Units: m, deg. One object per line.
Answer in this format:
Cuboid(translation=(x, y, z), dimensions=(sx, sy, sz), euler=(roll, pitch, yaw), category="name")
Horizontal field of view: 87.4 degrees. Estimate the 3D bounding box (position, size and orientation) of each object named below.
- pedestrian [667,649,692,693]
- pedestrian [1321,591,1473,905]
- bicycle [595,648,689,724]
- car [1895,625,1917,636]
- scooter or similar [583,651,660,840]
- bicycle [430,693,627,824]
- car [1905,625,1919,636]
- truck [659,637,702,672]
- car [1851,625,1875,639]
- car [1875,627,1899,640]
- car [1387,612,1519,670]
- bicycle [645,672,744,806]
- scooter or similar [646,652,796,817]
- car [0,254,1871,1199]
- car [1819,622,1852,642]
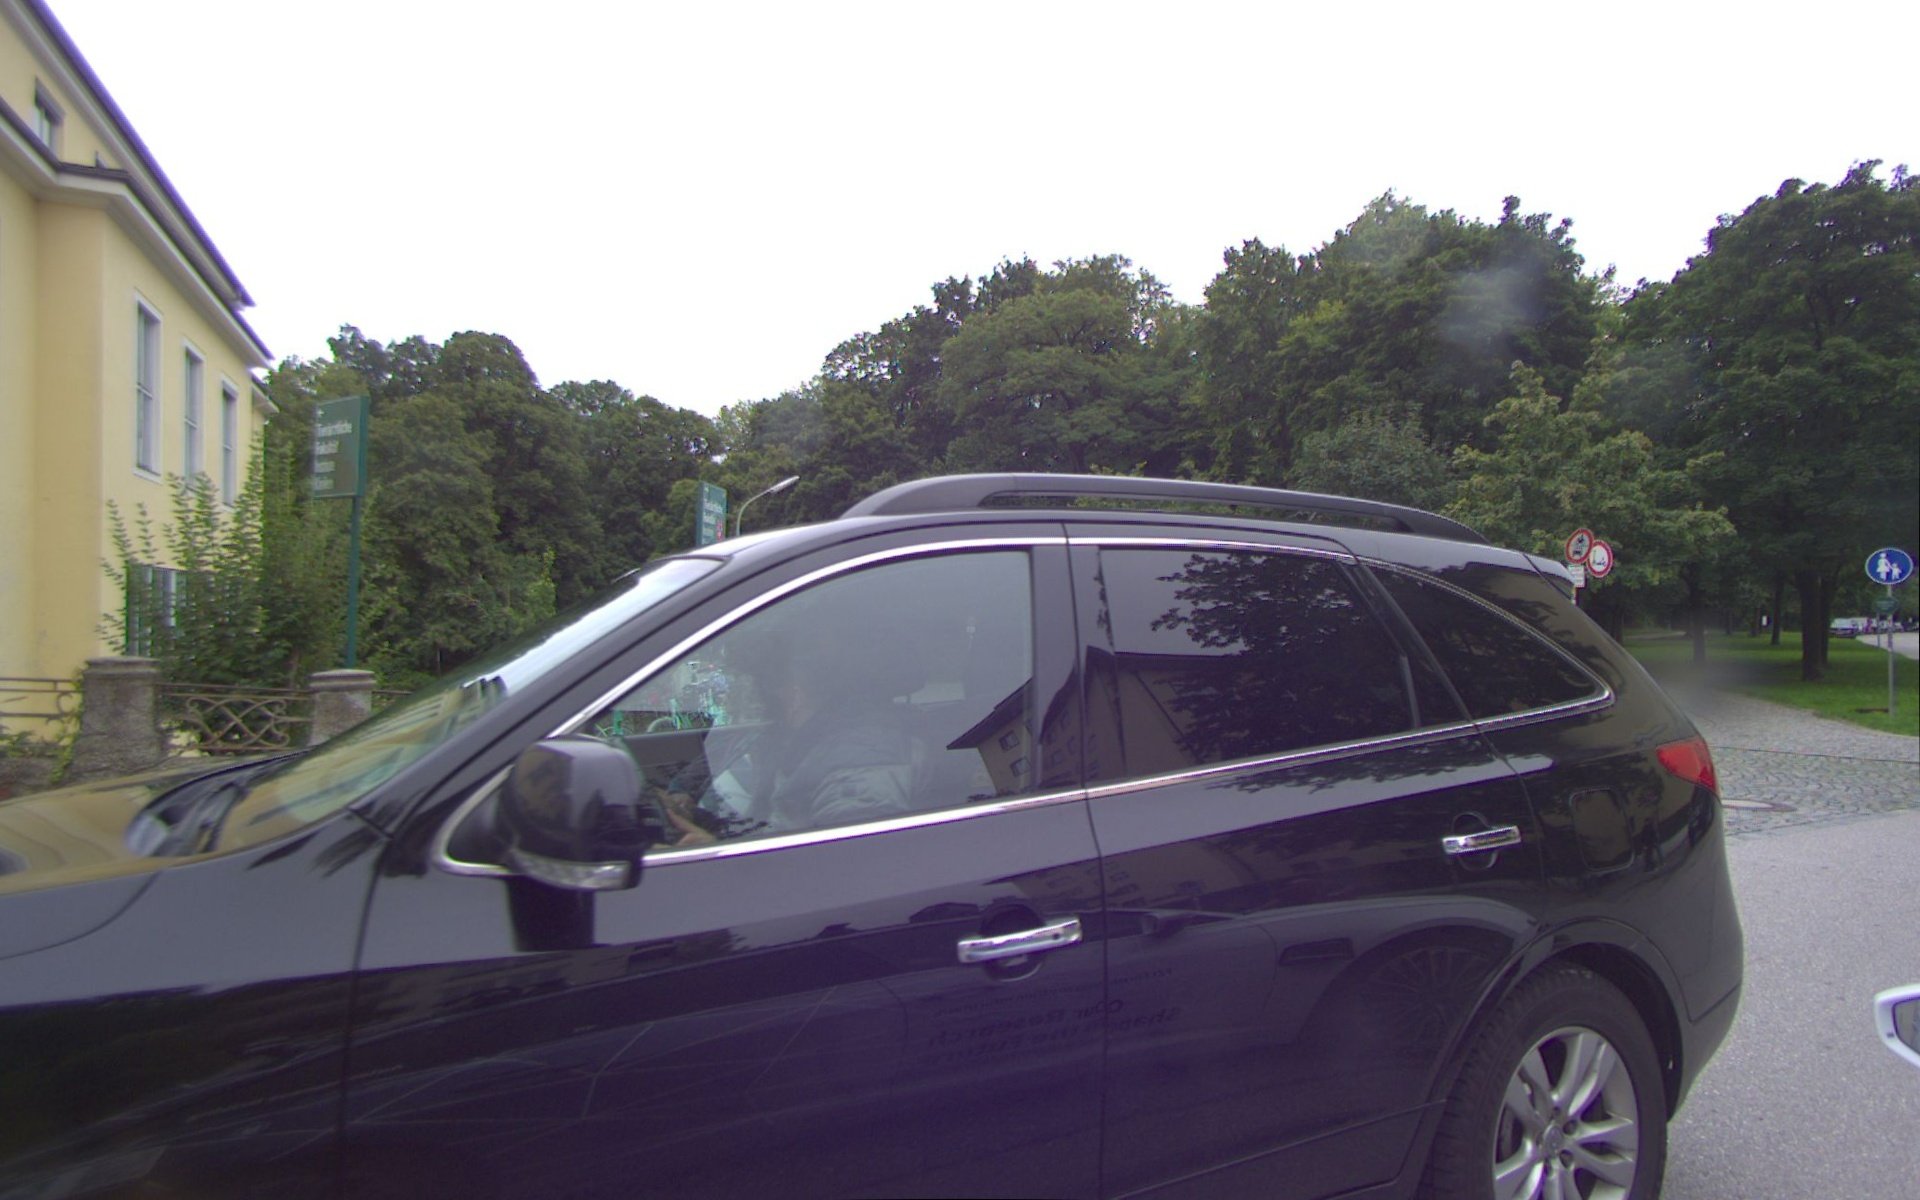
Cuboid(translation=(-11.507, 2.884, 41.202), dimensions=(0.740, 1.728, 1.103), euler=(1, -1, -29), category="pedestrian")
Cuboid(translation=(2.588, 0.830, 5.954), dimensions=(0.660, 1.719, 0.538), euler=(1, -3, -37), category="pedestrian")
Cuboid(translation=(-7.814, 2.041, 24.587), dimensions=(1.044, 1.683, 3.114), euler=(1, -2, -41), category="bicycle")
Cuboid(translation=(137.870, 4.446, 146.348), dimensions=(4.433, 1.621, 1.976), euler=(1, -2, -42), category="car")
Cuboid(translation=(-2.521, 1.039, 7.557), dimensions=(0.388, 1.260, 1.261), euler=(2, -2, -13), category="scooter or similar")
Cuboid(translation=(-3.354, 1.200, 7.880), dimensions=(1.322, 0.905, 0.429), euler=(4, -3, -45), category="bicycle")
Cuboid(translation=(142.457, 4.569, 149.929), dimensions=(4.221, 1.680, 1.785), euler=(2, -2, -43), category="car")
Cuboid(translation=(-20.989, 4.030, 75.351), dimensions=(2.366, 2.493, 5.463), euler=(1, -1, -24), category="truck")
Cuboid(translation=(105.543, 3.692, 117.401), dimensions=(1.973, 1.621, 4.440), euler=(-1, -2, 44), category="car")
Cuboid(translation=(120.347, 4.361, 130.416), dimensions=(4.216, 1.680, 1.787), euler=(2, -2, -41), category="car")
Cuboid(translation=(17.778, 1.494, 36.376), dimensions=(3.919, 2.040, 1.789), euler=(0, -2, 6), category="car")
Cuboid(translation=(-2.439, 1.248, 9.327), dimensions=(0.295, 1.125, 1.192), euler=(1, -2, 15), category="bicycle")
Cuboid(translation=(-1.893, 1.049, 8.014), dimensions=(1.032, 1.228, 0.440), euler=(2, -2, 6), category="scooter or similar")
Cuboid(translation=(-0.179, 0.579, 2.415), dimensions=(4.554, 1.742, 1.987), euler=(1, -1, -26), category="car")
Cuboid(translation=(73.395, 2.707, 84.246), dimensions=(1.970, 1.621, 4.446), euler=(-1, -2, 40), category="car")
